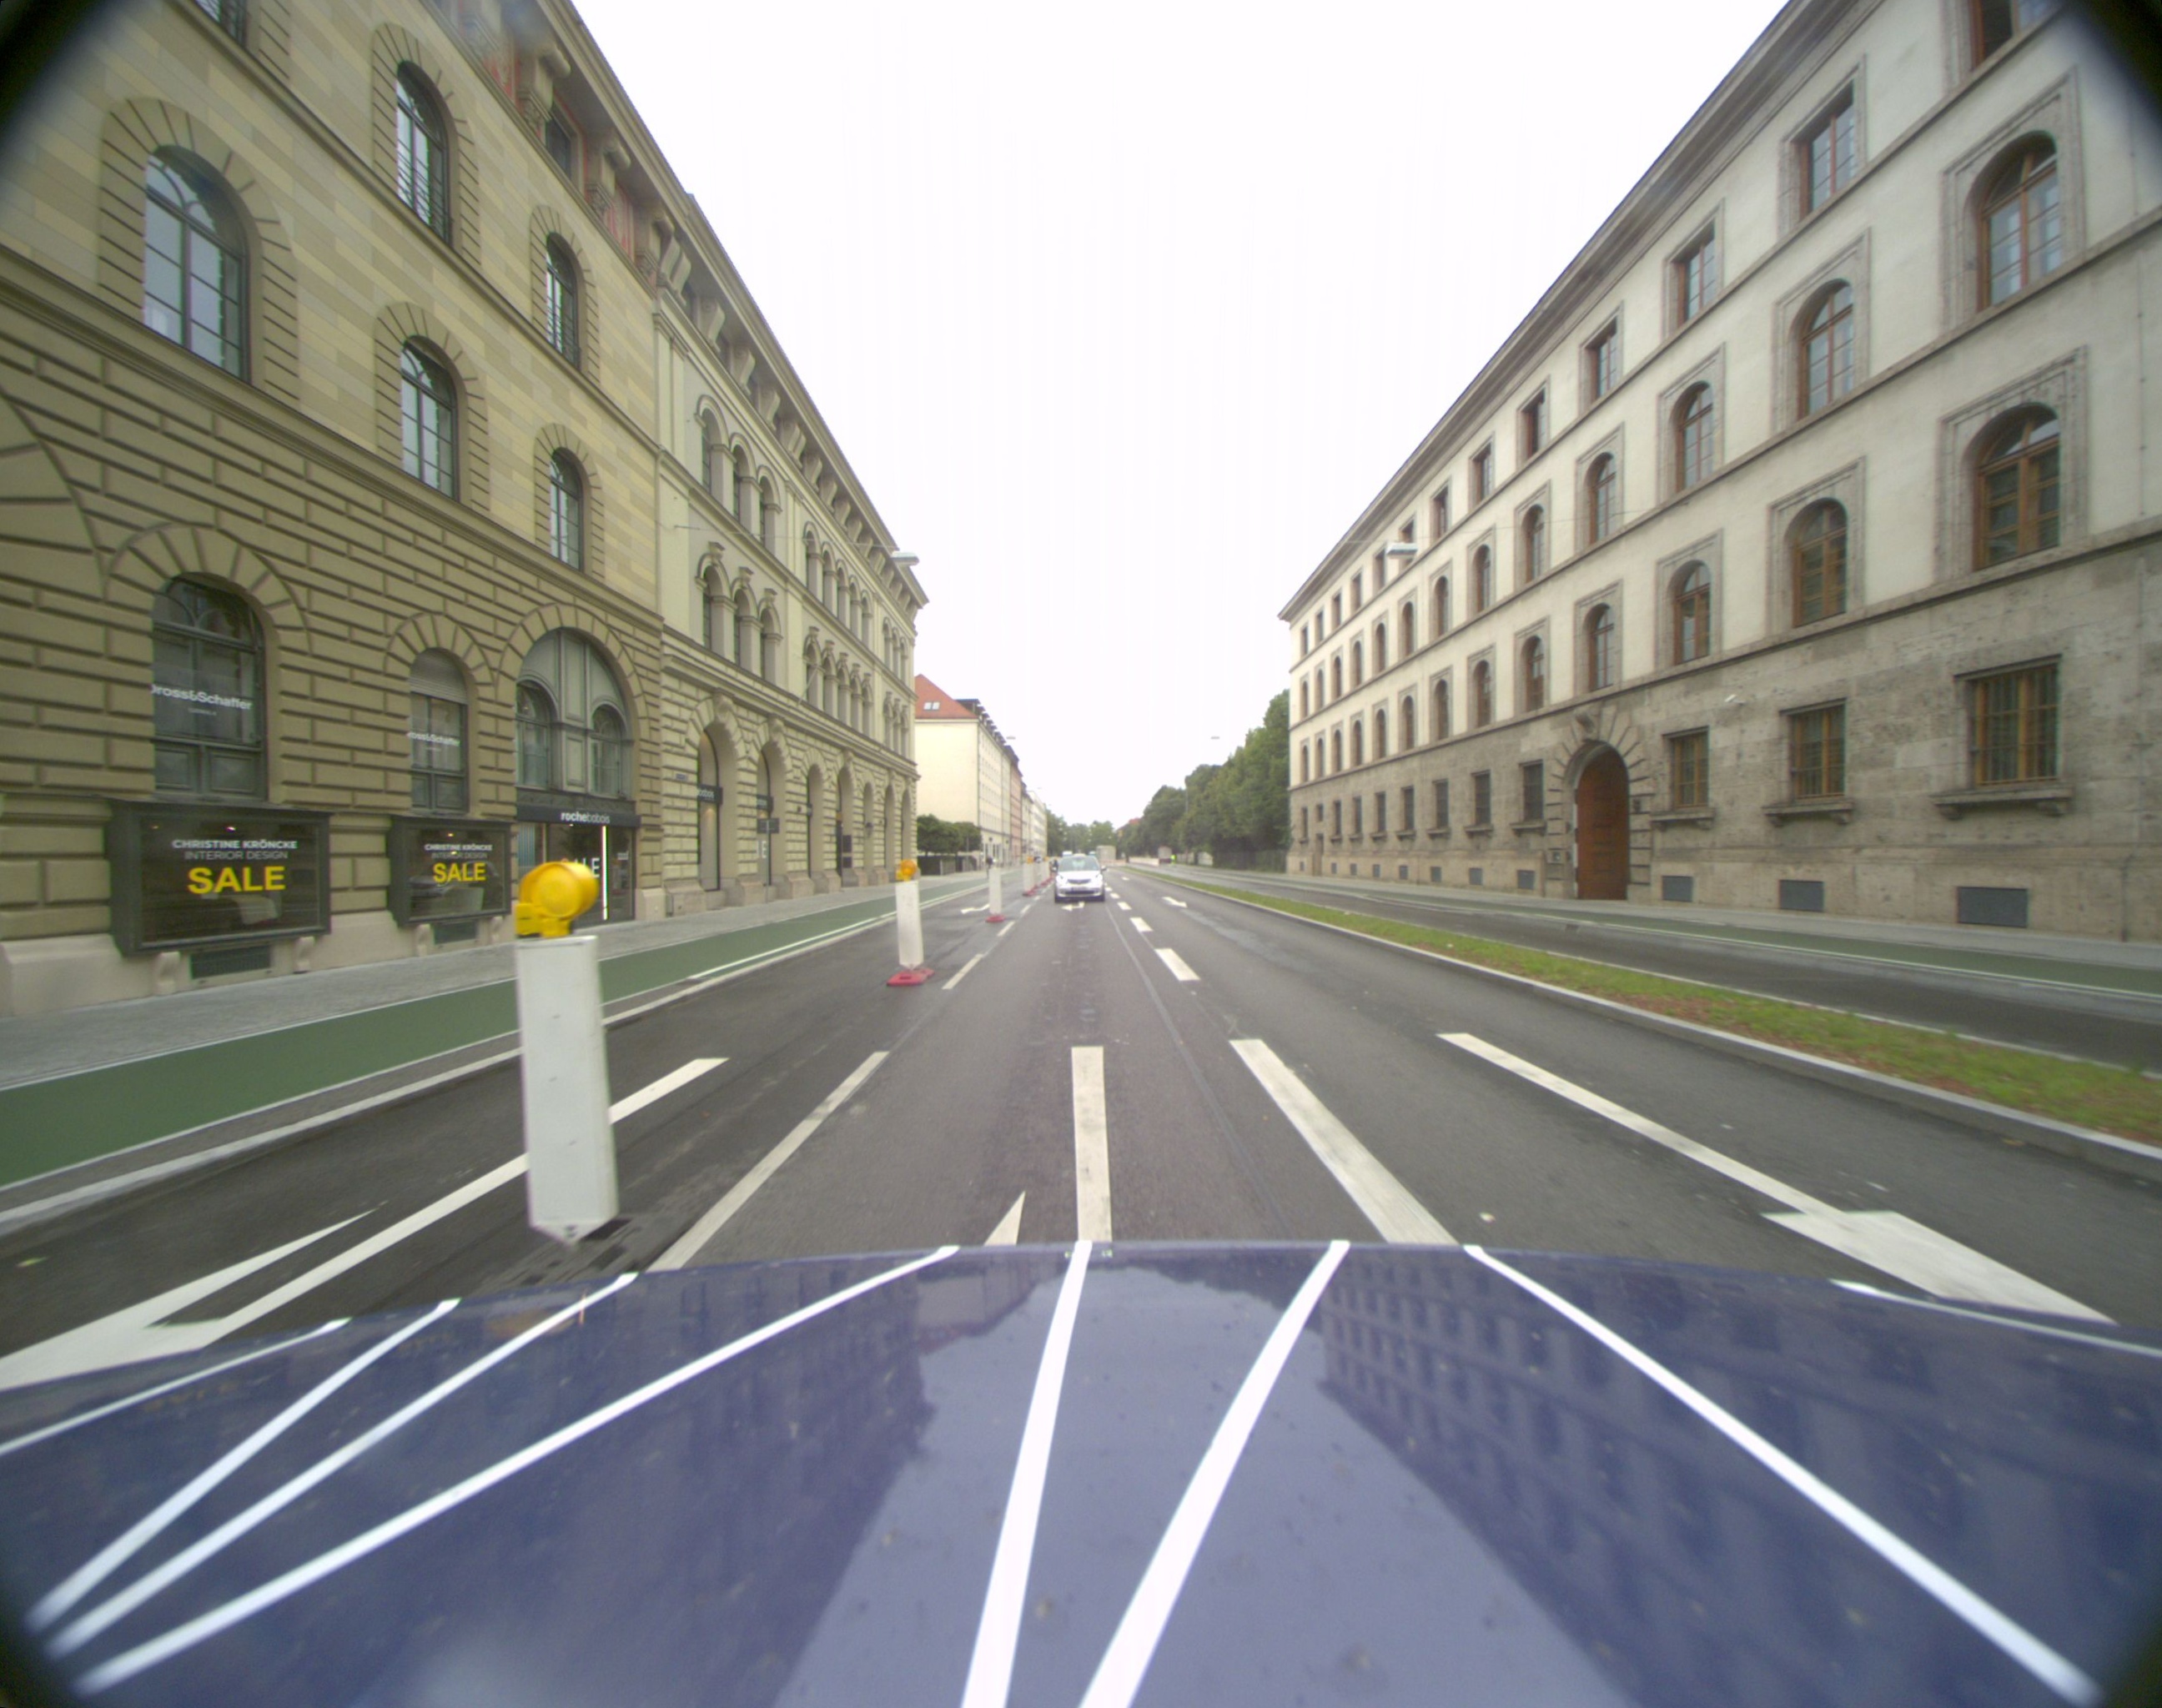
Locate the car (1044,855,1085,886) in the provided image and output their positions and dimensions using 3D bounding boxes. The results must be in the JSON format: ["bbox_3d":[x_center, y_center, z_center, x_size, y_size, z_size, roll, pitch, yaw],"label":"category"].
[{"bbox_3d":[-0.805,0.803,39.324,1.922,1.433,4.306,-3,0,0],"label":"car"}]

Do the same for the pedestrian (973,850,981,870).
[{"bbox_3d":[-10.100,0.562,73.744,0.655,1.863,0.826,1,1,0],"label":"pedestrian"}]

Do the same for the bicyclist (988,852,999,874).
[{"bbox_3d":[-6.513,0.659,56.560,0.724,1.543,0.858,-2,1,0],"label":"bicyclist"}]

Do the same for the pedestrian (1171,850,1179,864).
[{"bbox_3d":[13.210,0.452,106.862,0.869,2.002,0.756,-2,1,-35],"label":"pedestrian"}]

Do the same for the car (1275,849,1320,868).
[{"bbox_3d":[21.855,0.425,76.835,4.036,1.700,1.875,-2,3,4],"label":"car"}]

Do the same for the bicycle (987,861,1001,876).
[{"bbox_3d":[-6.500,1.074,56.669,0.751,1.026,2.531,-2,0,0],"label":"bicycle"}]

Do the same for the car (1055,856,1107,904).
[{"bbox_3d":[0.009,0.844,26.527,1.633,1.494,4.000,-1,0,0],"label":"car"}]

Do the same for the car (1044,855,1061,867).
[{"bbox_3d":[-3.233,0.767,87.519,1.739,1.313,4.000,-1,0,0],"label":"car"}]
